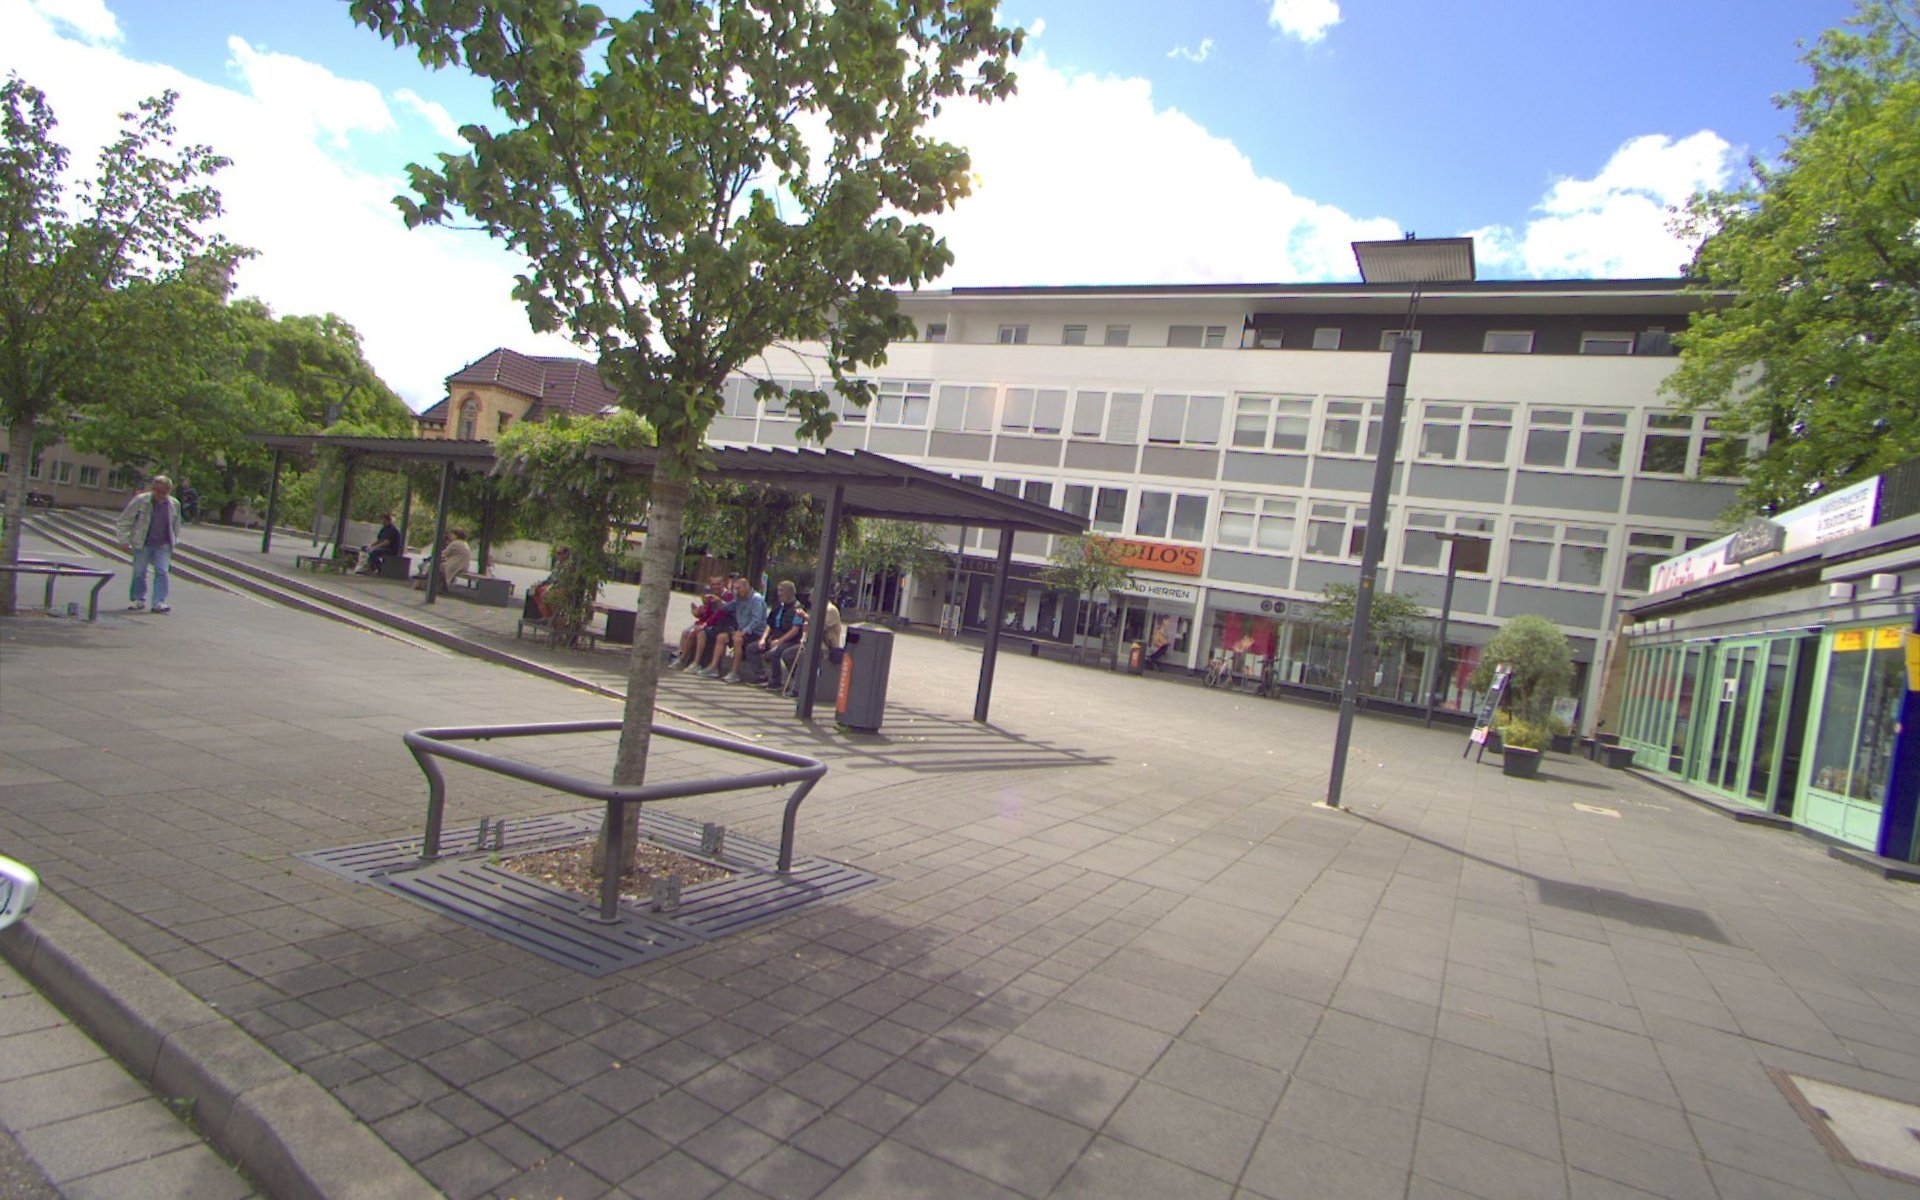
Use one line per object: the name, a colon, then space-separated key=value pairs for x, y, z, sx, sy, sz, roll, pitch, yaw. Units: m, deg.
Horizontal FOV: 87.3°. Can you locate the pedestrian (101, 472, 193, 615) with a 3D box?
pedestrian: x=-10.310 y=-0.715 z=12.758 sx=0.705 sy=1.702 sz=0.683 roll=7 pitch=0 yaw=44

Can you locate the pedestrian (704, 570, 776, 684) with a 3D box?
pedestrian: x=-2.765 y=0.349 z=12.639 sx=0.517 sy=1.337 sz=0.498 roll=10 pitch=2 yaw=38

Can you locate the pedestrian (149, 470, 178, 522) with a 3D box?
pedestrian: x=-24.728 y=-3.237 z=31.232 sx=0.448 sy=1.527 sz=0.501 roll=8 pitch=1 yaw=43

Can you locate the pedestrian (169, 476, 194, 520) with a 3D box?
pedestrian: x=-24.721 y=-3.237 z=31.951 sx=0.631 sy=1.301 sz=0.363 roll=8 pitch=1 yaw=39

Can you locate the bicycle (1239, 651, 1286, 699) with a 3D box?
bicycle: x=8.927 y=2.200 z=29.781 sx=0.675 sy=1.157 sz=2.025 roll=7 pitch=2 yaw=1

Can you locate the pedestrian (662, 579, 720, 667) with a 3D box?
pedestrian: x=-3.575 y=0.311 z=13.365 sx=0.363 sy=1.102 sz=0.476 roll=10 pitch=2 yaw=37

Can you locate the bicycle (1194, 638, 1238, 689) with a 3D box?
bicycle: x=7.750 y=1.892 z=30.530 sx=0.675 sy=1.324 sz=2.026 roll=7 pitch=1 yaw=1

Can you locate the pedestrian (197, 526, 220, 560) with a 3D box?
pedestrian: x=-36.826 y=-2.794 z=49.271 sx=0.775 sy=1.533 sz=0.550 roll=10 pitch=2 yaw=35

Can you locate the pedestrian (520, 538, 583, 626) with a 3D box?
pedestrian: x=-6.597 y=-0.287 z=16.244 sx=0.538 sy=1.324 sz=0.623 roll=8 pitch=1 yaw=37

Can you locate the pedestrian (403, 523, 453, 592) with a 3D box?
pedestrian: x=-10.325 y=-0.821 z=19.510 sx=0.558 sy=1.242 sz=0.567 roll=7 pitch=-1 yaw=43

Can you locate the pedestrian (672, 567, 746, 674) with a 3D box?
pedestrian: x=-3.239 y=0.270 z=12.985 sx=0.533 sy=1.278 sz=0.568 roll=10 pitch=2 yaw=37

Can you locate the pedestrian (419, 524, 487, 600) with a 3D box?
pedestrian: x=-9.525 y=-0.706 z=18.932 sx=0.756 sy=1.284 sz=0.677 roll=8 pitch=0 yaw=4

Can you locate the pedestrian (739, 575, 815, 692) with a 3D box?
pedestrian: x=-2.244 y=0.418 z=12.339 sx=0.566 sy=1.337 sz=0.495 roll=10 pitch=2 yaw=37

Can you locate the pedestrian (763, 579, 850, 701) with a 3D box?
pedestrian: x=-1.811 y=0.479 z=11.915 sx=0.576 sy=1.337 sz=0.616 roll=10 pitch=2 yaw=36

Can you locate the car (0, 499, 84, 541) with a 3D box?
car: x=-40.808 y=-3.533 z=44.251 sx=1.587 sy=1.399 sz=3.830 roll=8 pitch=-1 yaw=-11

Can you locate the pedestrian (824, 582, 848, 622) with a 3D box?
pedestrian: x=-4.436 y=0.064 z=36.046 sx=0.535 sy=1.339 sz=0.570 roll=8 pitch=0 yaw=7

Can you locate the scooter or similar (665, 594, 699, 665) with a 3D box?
scooter or similar: x=-3.829 y=0.397 z=13.853 sx=0.246 sy=0.905 sz=0.503 roll=8 pitch=2 yaw=-26

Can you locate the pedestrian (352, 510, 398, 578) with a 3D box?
pedestrian: x=-12.463 y=-1.185 z=21.425 sx=0.538 sy=1.339 sz=0.567 roll=8 pitch=0 yaw=43
